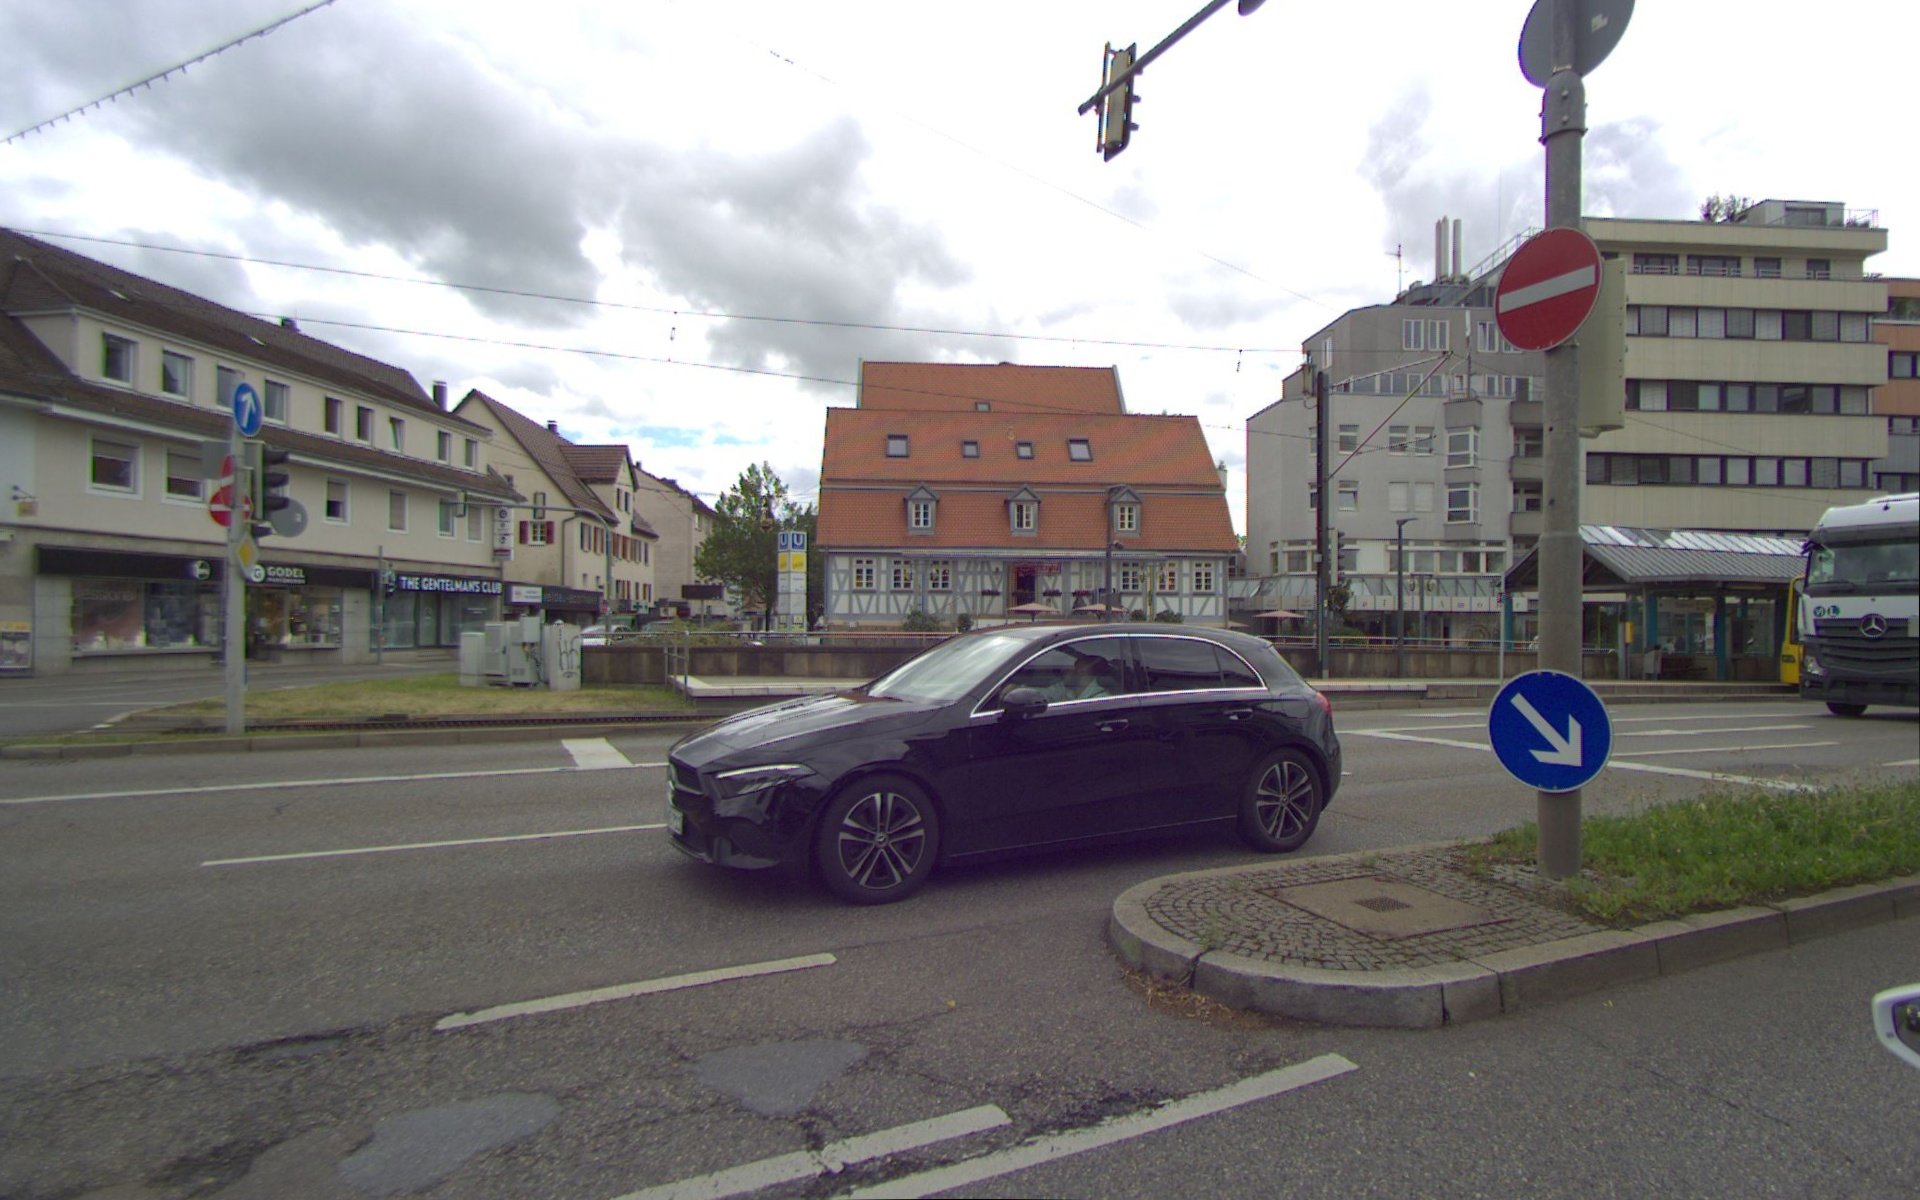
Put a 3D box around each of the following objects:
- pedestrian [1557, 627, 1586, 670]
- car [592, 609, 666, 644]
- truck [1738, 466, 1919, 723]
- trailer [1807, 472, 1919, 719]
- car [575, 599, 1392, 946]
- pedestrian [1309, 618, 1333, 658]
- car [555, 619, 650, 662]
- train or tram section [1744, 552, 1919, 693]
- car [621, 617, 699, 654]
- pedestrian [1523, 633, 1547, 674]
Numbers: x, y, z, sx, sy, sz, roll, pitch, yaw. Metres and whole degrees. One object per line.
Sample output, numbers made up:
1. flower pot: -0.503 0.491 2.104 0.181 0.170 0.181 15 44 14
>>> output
1. pedestrian: 25.503 1.998 41.878 0.641 1.758 0.809 1 -1 -19
2. car: -16.888 1.346 51.454 1.959 1.673 4.076 1 -1 9
3. truck: 17.592 -0.028 18.100 6.066 4.075 3.085 1 -1 -22
4. trailer: 23.511 0.024 20.567 14.631 4.326 3.096 1 -1 -23
5. car: 0.213 0.794 6.246 4.710 1.478 1.987 1 -1 -26
6. pedestrian: 14.690 1.523 40.899 0.687 1.604 0.650 1 -1 -8
7. car: -14.607 1.635 41.301 1.959 1.673 4.076 1 -1 9
8. train or tram section: 28.122 0.704 29.273 11.826 3.633 2.752 1 -1 -22
9. car: -14.137 1.668 47.608 1.959 1.673 4.076 1 -1 9
10. pedestrian: 23.196 2.142 40.527 0.596 1.604 0.645 1 -1 -35
